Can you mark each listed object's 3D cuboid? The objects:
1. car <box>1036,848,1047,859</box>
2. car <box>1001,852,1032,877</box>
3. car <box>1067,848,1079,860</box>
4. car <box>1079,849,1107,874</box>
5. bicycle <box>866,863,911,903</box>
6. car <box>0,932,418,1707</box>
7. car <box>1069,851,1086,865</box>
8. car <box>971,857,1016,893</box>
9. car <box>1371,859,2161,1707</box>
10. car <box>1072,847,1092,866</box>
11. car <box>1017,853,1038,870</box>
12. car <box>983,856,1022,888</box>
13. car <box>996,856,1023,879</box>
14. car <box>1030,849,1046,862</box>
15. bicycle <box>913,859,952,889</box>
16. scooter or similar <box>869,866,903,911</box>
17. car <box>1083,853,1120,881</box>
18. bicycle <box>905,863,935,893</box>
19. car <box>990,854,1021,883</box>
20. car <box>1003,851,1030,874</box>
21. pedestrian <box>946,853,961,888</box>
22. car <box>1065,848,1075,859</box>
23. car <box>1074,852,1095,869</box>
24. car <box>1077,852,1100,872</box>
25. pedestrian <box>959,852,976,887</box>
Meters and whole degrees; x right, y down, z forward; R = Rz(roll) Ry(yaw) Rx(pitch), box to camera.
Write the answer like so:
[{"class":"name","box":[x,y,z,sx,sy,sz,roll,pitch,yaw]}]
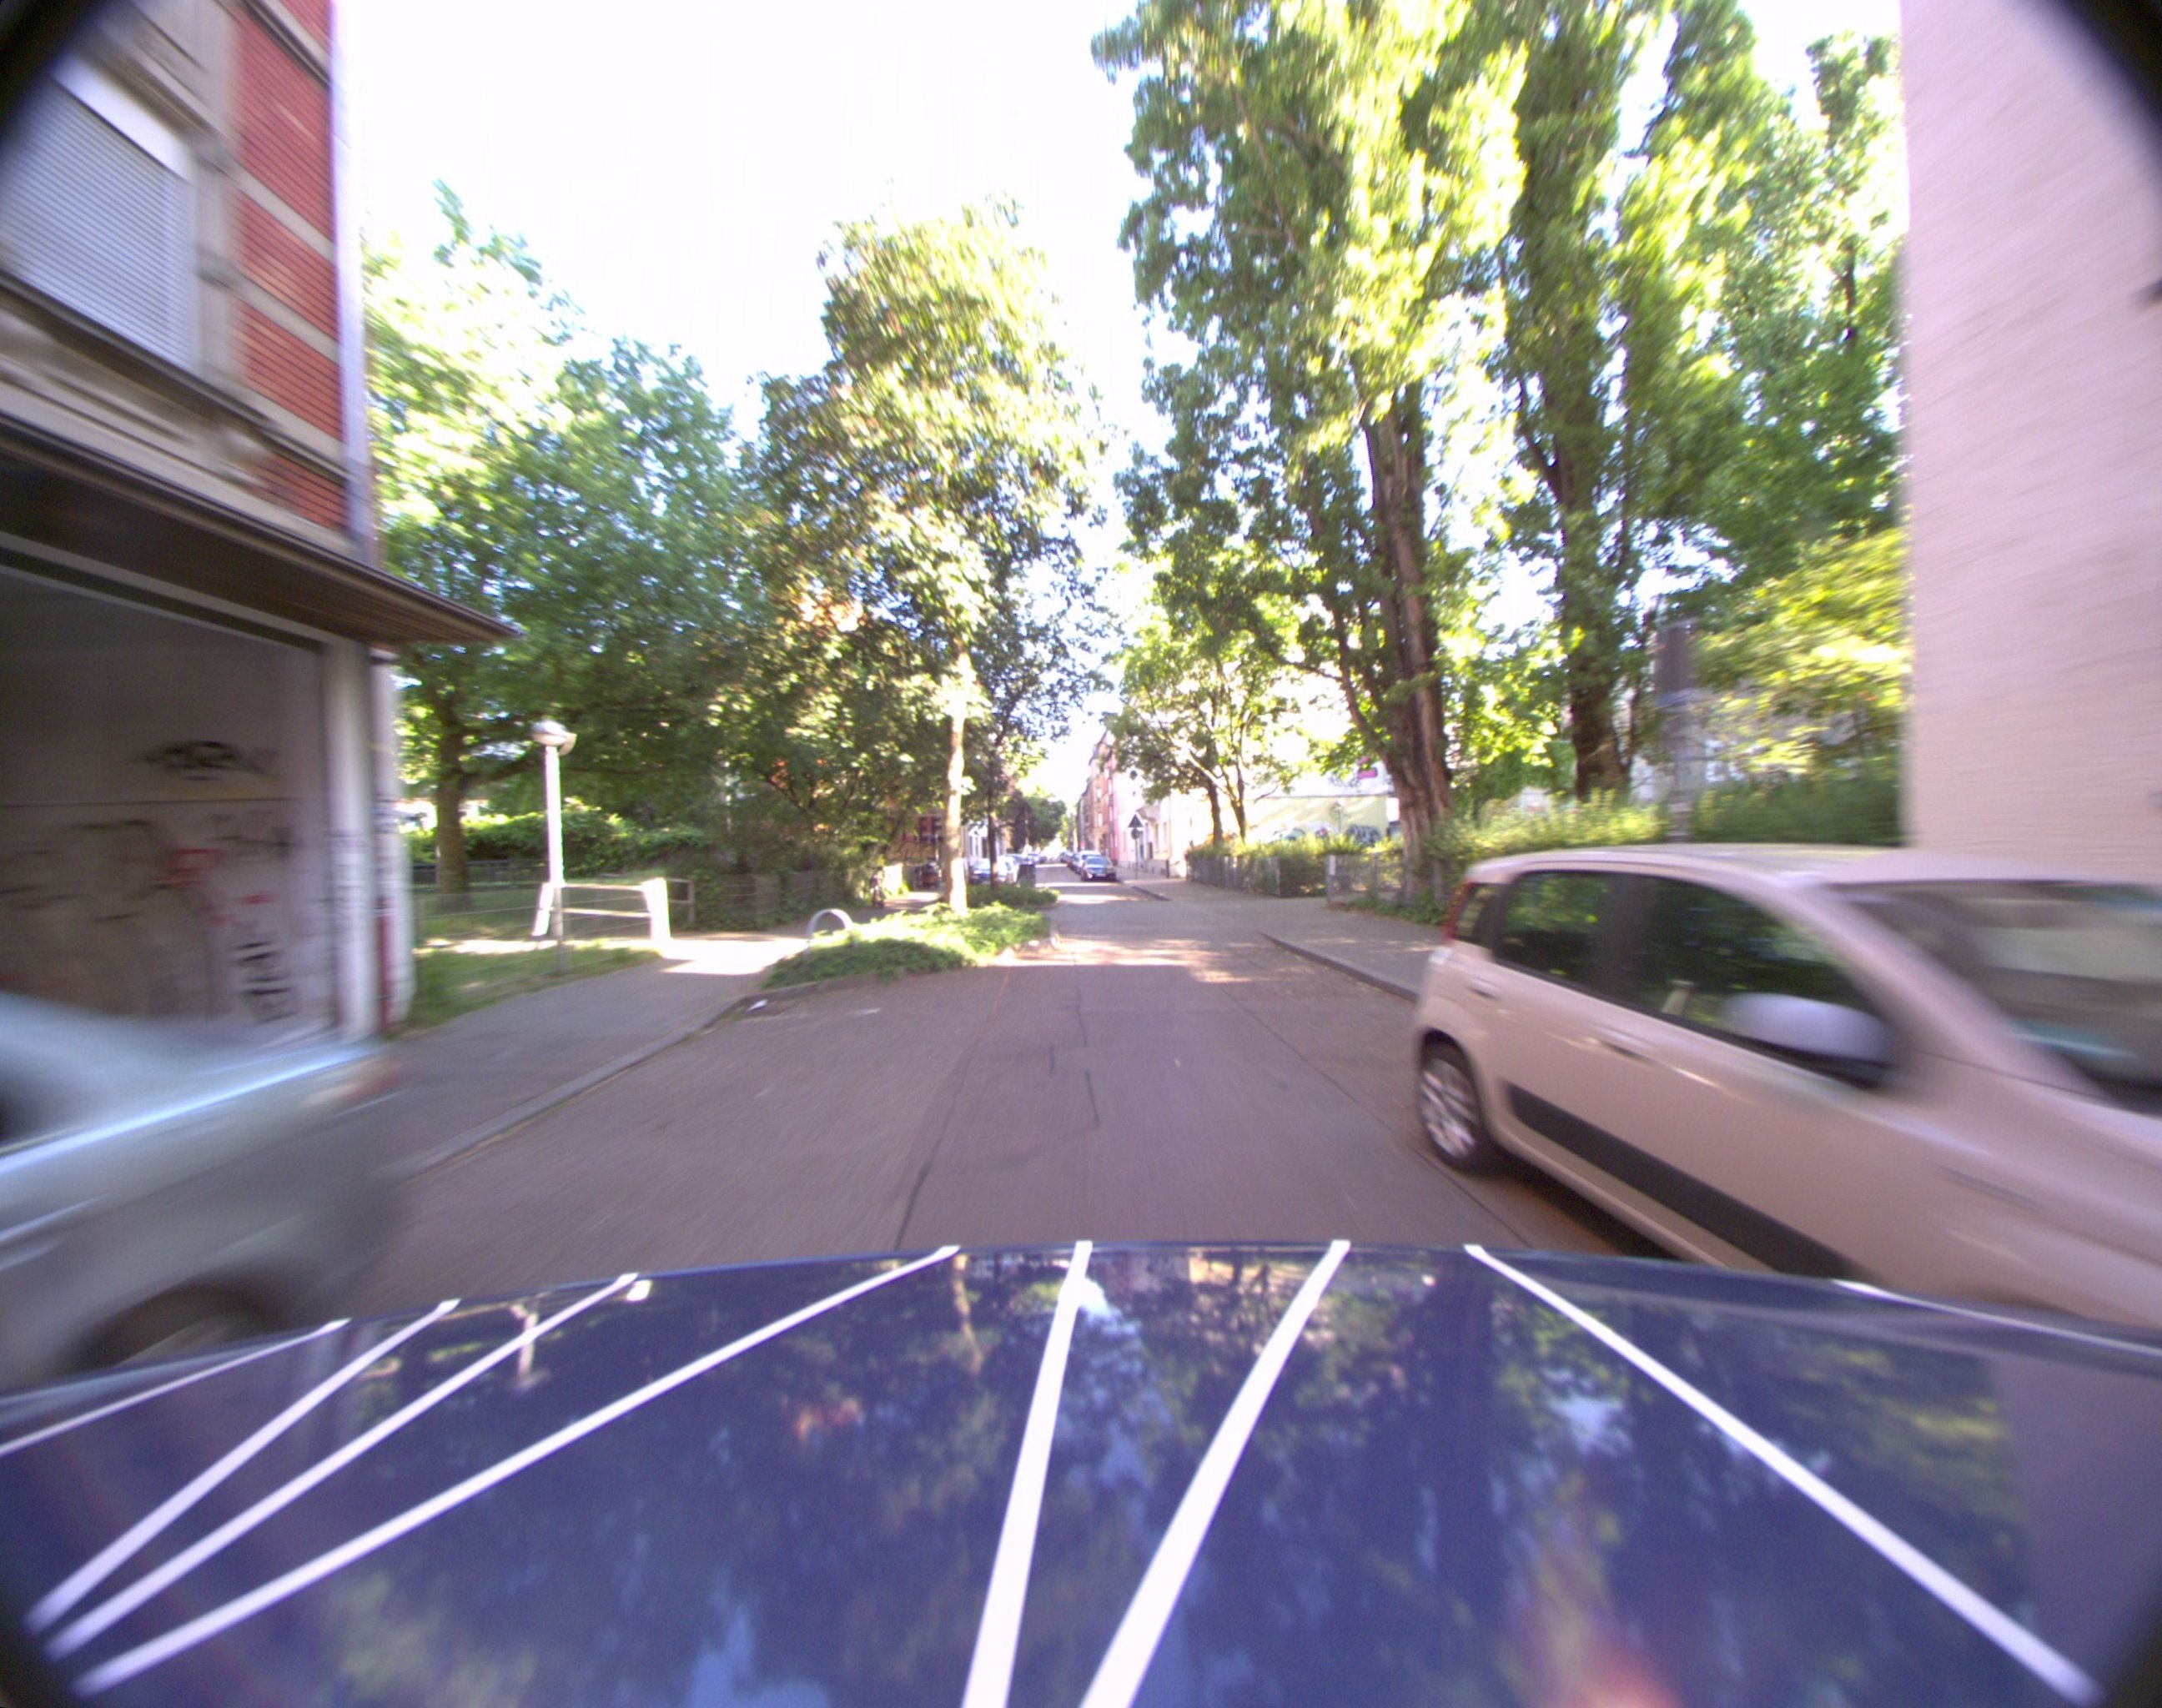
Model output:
[{"class":"car","box":[-7.142,-0.055,138.111,1.769,2.006,4.262,1,1,-2]},{"class":"car","box":[-4.508,0.701,53.667,1.770,1.657,4.327,-1,0,0]},{"class":"car","box":[-1.238,-0.028,119.644,1.769,1.846,3.992,1,1,-2]},{"class":"car","box":[0.855,0.488,56.174,1.754,1.731,4.313,1,1,-3]},{"class":"bicycle","box":[-6.698,0.978,26.605,0.849,1.260,2.692,-1,0,0]},{"class":"car","box":[-2.874,1.044,0.122,1.726,1.553,4.397,-2,0,-2]},{"class":"car","box":[-0.439,0.451,90.757,1.769,1.524,4.102,1,1,-2]},{"class":"car","box":[-3.848,0.898,34.140,1.726,1.485,4.412,0,0,-3]},{"class":"car","box":[2.584,0.822,2.349,1.680,1.531,3.867,-1,1,-4]},{"class":"car","box":[0.085,0.182,75.548,1.769,1.814,4.102,1,1,-2]},{"class":"car","box":[-4.989,0.665,71.163,1.769,1.508,4.102,1,1,-2]},{"class":"car","box":[-4.001,0.887,39.226,1.663,1.485,4.352,0,0,-2]},{"class":"car","box":[-4.550,0.834,48.878,1.598,1.442,4.001,0,0,-4]},{"class":"car","box":[-6.373,0.207,112.874,1.866,1.970,4.480,1,1,2]},{"class":"bicycle","box":[-6.767,0.881,34.744,1.294,1.294,2.326,0,0,1]},{"class":"scooter or similar","box":[-5.807,0.998,22.560,0.547,1.254,1.469,-1,1,-33]},{"class":"car","box":[1.084,0.673,42.731,1.784,1.435,4.391,1,1,-2]},{"class":"bicycle","box":[-6.780,0.976,32.100,0.849,1.194,1.981,-1,0,0]},{"class":"car","box":[-4.390,0.823,44.522,1.598,1.576,3.763,0,0,-2]},{"class":"car","box":[-4.961,0.634,58.816,1.886,1.657,4.326,1,1,-2]},{"class":"pedestrian","box":[-6.273,0.789,37.511,0.599,1.699,0.706,2,1,-2]},{"class":"car","box":[-2.108,-0.135,140.398,1.769,2.075,4.262,1,1,-2]},{"class":"car","box":[0.297,0.580,70.209,1.769,1.463,3.815,1,1,-2]},{"class":"car","box":[0.636,0.609,61.106,1.674,1.519,4.085,1,1,3]},{"class":"pedestrian","box":[-5.618,0.740,37.756,0.712,1.699,0.752,2,1,-2]}]
